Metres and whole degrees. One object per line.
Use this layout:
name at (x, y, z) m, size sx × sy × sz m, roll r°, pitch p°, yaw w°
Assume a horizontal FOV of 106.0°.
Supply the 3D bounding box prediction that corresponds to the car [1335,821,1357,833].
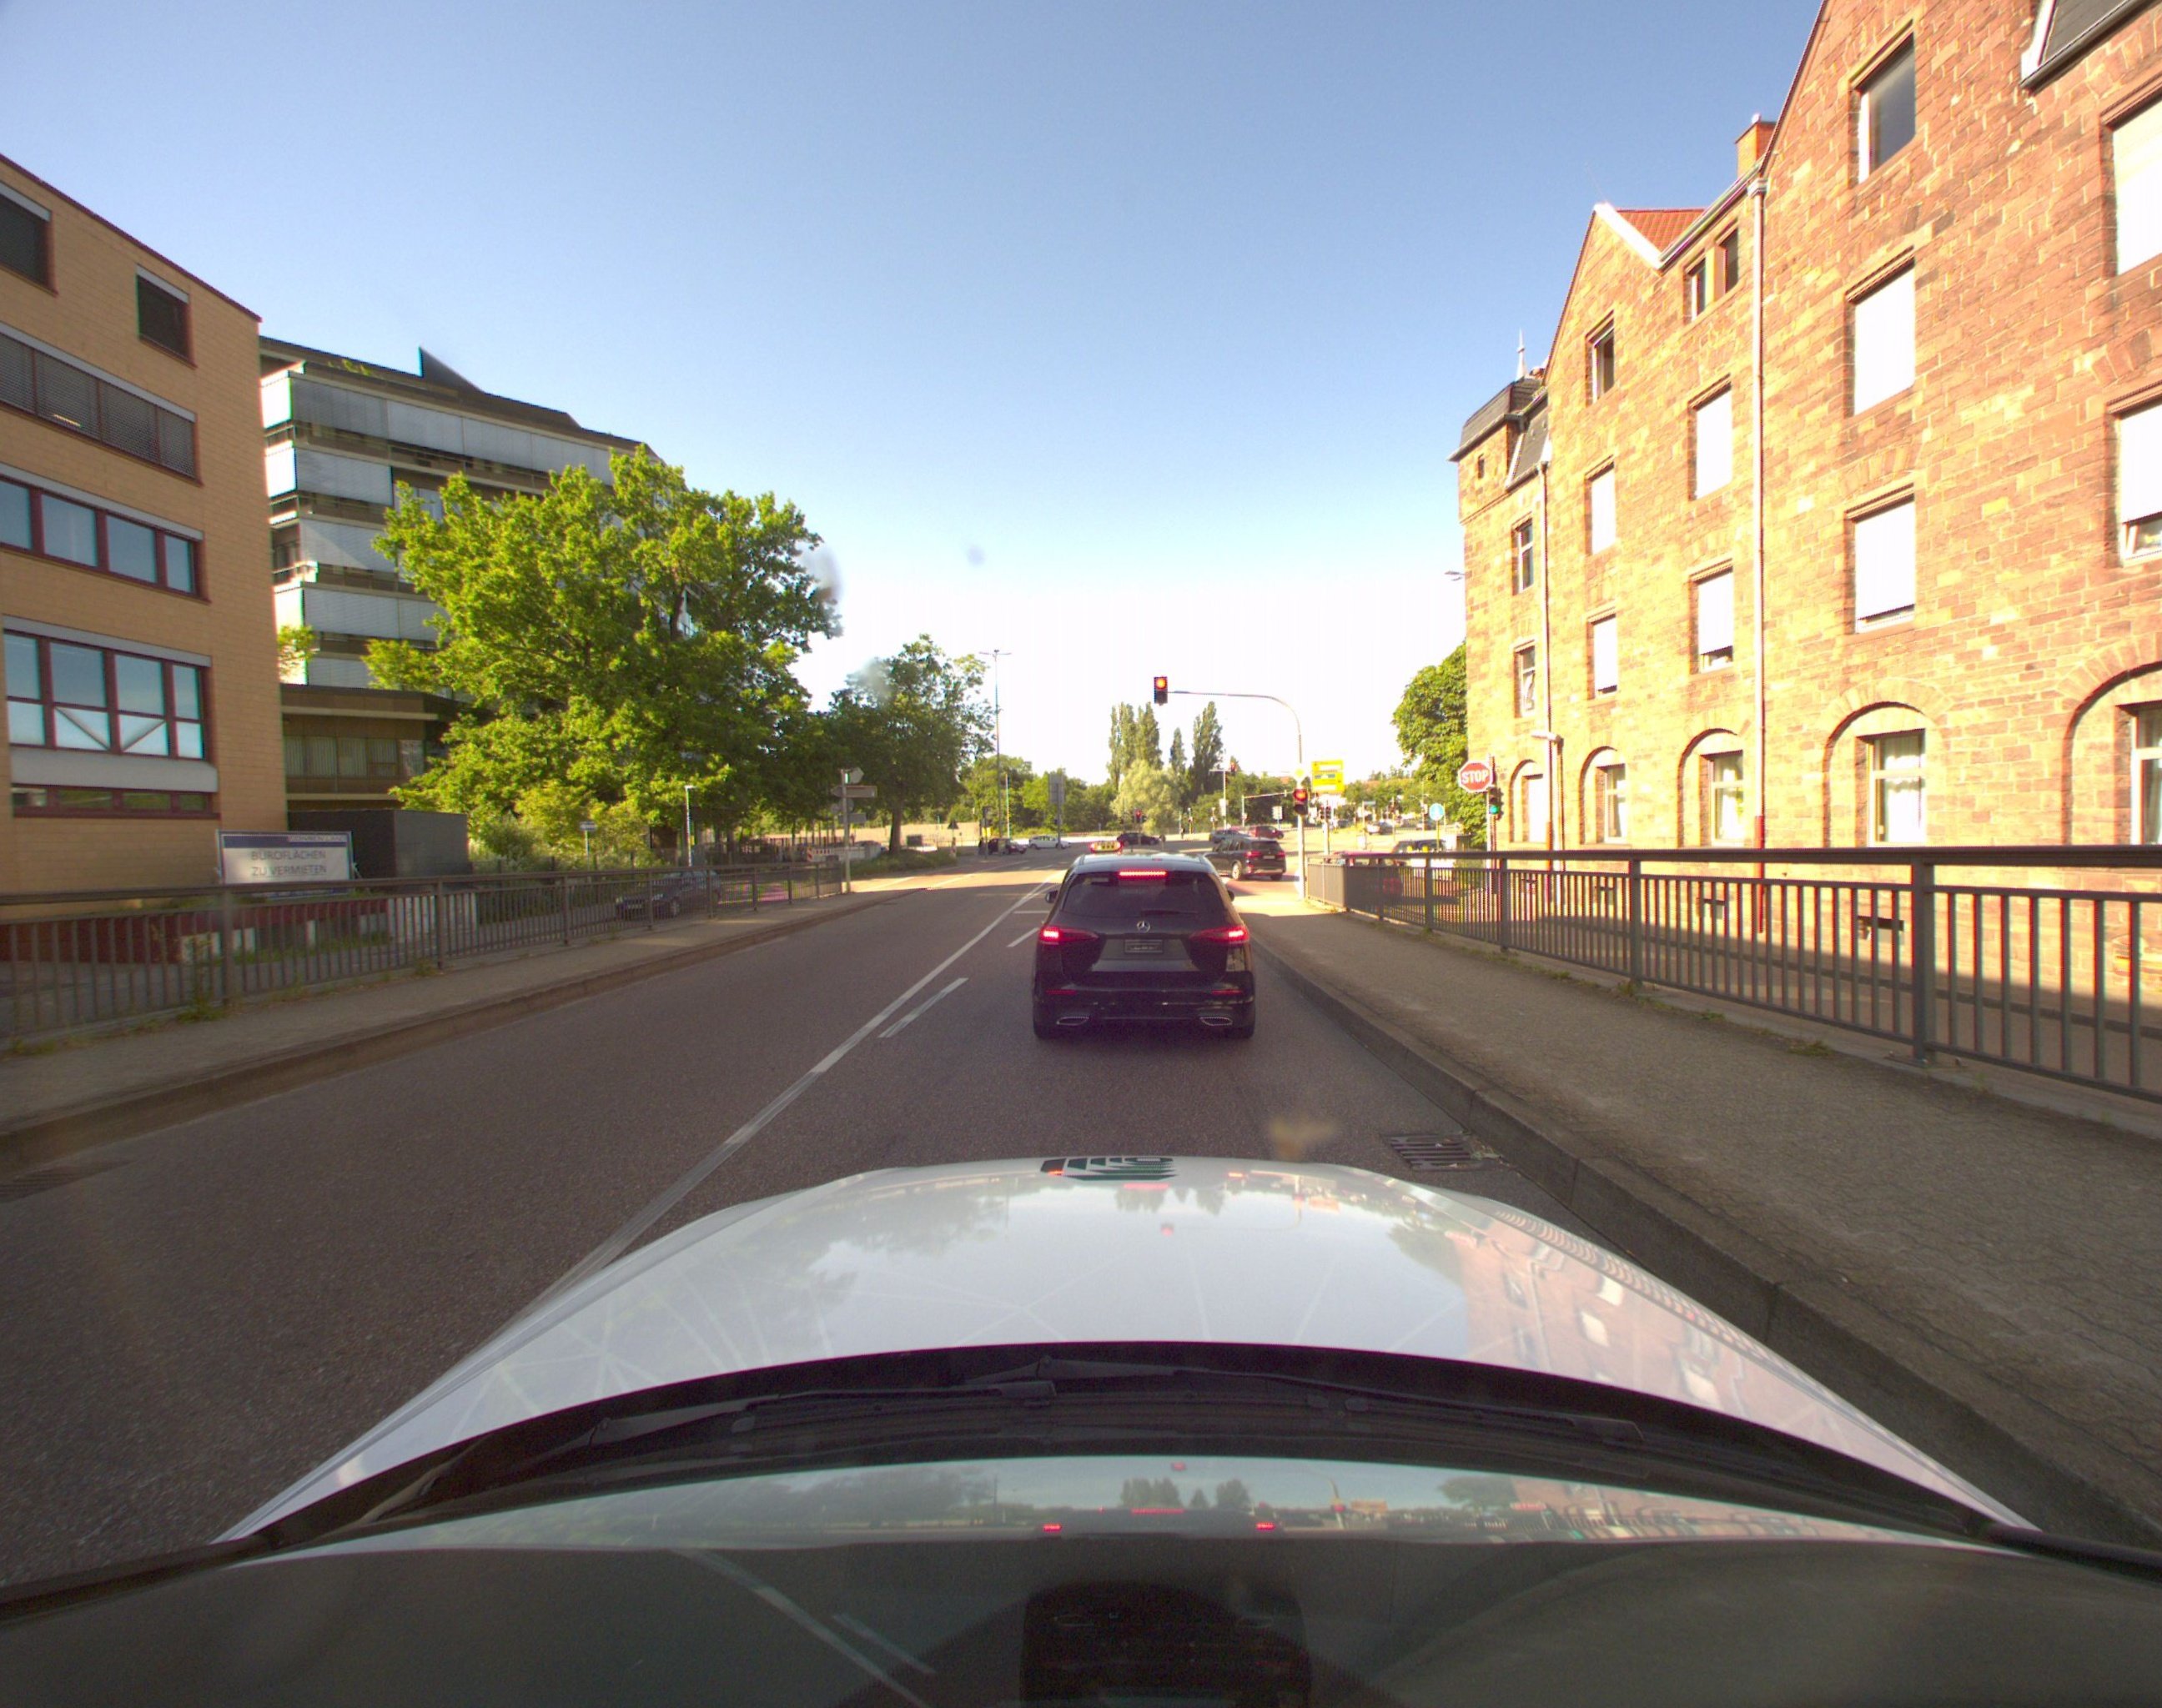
car at (38.774, -4.008, 119.177) m, size 1.860 × 1.578 × 4.026 m, roll -1°, pitch 2°, yaw 38°

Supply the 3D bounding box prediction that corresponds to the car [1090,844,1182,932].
car at (1.138, 0.608, 16.827) m, size 1.632 × 1.529 × 3.478 m, roll -2°, pitch 1°, yaw 4°

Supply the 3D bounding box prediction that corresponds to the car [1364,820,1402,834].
car at (35.162, -3.155, 94.774) m, size 4.850 × 1.441 × 1.976 m, roll -5°, pitch 3°, yaw -41°

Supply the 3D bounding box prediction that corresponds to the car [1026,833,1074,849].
car at (-3.059, -1.331, 81.419) m, size 4.268 × 1.365 × 2.009 m, roll -2°, pitch 2°, yaw 15°

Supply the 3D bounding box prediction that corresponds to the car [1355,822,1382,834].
car at (36.794, -3.372, 104.230) m, size 1.764 × 1.357 × 4.104 m, roll -1°, pitch 3°, yaw 42°

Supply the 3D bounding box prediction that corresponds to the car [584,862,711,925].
car at (-13.950, 1.206, 26.501) m, size 1.844 × 1.692 × 4.002 m, roll -2°, pitch 2°, yaw 2°

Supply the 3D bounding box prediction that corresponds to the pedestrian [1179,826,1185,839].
pedestrian at (13.083, -2.752, 105.311) m, size 0.446 × 1.585 × 0.504 m, roll -2°, pitch 1°, yaw 42°

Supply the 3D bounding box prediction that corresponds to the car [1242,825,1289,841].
car at (20.142, -2.285, 89.018) m, size 4.544 × 1.455 × 1.991 m, roll -3°, pitch 2°, yaw -14°

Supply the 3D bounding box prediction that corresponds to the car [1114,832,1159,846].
car at (5.783, -1.581, 85.297) m, size 4.563 × 1.294 × 1.887 m, roll -3°, pitch 2°, yaw 0°

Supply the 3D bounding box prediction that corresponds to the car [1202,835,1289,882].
car at (6.727, 0.176, 33.863) m, size 1.725 × 1.812 × 4.272 m, roll 0°, pitch 0°, yaw -17°

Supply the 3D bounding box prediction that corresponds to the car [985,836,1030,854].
car at (-6.327, -0.748, 70.117) m, size 1.756 × 1.407 × 4.151 m, roll -3°, pitch 2°, yaw -40°

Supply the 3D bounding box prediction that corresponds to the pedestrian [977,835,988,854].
pedestrian at (-8.298, -0.785, 68.390) m, size 0.700 × 1.525 × 0.746 m, roll -1°, pitch 1°, yaw 12°

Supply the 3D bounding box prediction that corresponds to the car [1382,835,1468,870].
car at (17.717, -0.117, 41.906) m, size 4.306 × 1.603 × 1.713 m, roll -2°, pitch 3°, yaw -26°

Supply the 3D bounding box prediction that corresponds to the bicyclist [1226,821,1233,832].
bicyclist at (20.400, -3.771, 111.923) m, size 0.520 × 1.551 × 0.812 m, roll -2°, pitch 1°, yaw 38°

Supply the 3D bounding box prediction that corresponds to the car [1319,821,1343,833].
car at (35.076, -3.760, 114.105) m, size 1.860 × 1.578 × 4.026 m, roll -1°, pitch 2°, yaw 38°

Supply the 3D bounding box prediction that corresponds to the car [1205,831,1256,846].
car at (14.964, -1.594, 81.579) m, size 4.584 × 1.294 × 1.992 m, roll -3°, pitch 2°, yaw -13°

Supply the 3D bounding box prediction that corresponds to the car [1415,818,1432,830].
car at (45.437, -3.978, 108.220) m, size 1.976 × 1.441 × 4.319 m, roll -2°, pitch 2°, yaw 22°

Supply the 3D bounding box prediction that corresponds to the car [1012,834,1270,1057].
car at (0.503, 0.650, 7.948) m, size 1.871 × 1.613 × 4.002 m, roll 0°, pitch 0°, yaw 2°

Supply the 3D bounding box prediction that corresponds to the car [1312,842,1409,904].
car at (8.046, 0.494, 23.764) m, size 1.715 × 1.521 × 3.488 m, roll -2°, pitch 3°, yaw 2°

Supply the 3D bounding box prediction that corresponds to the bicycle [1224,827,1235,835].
bicycle at (20.418, -3.210, 111.945) m, size 0.520 × 1.050 × 2.003 m, roll -2°, pitch 1°, yaw 38°
